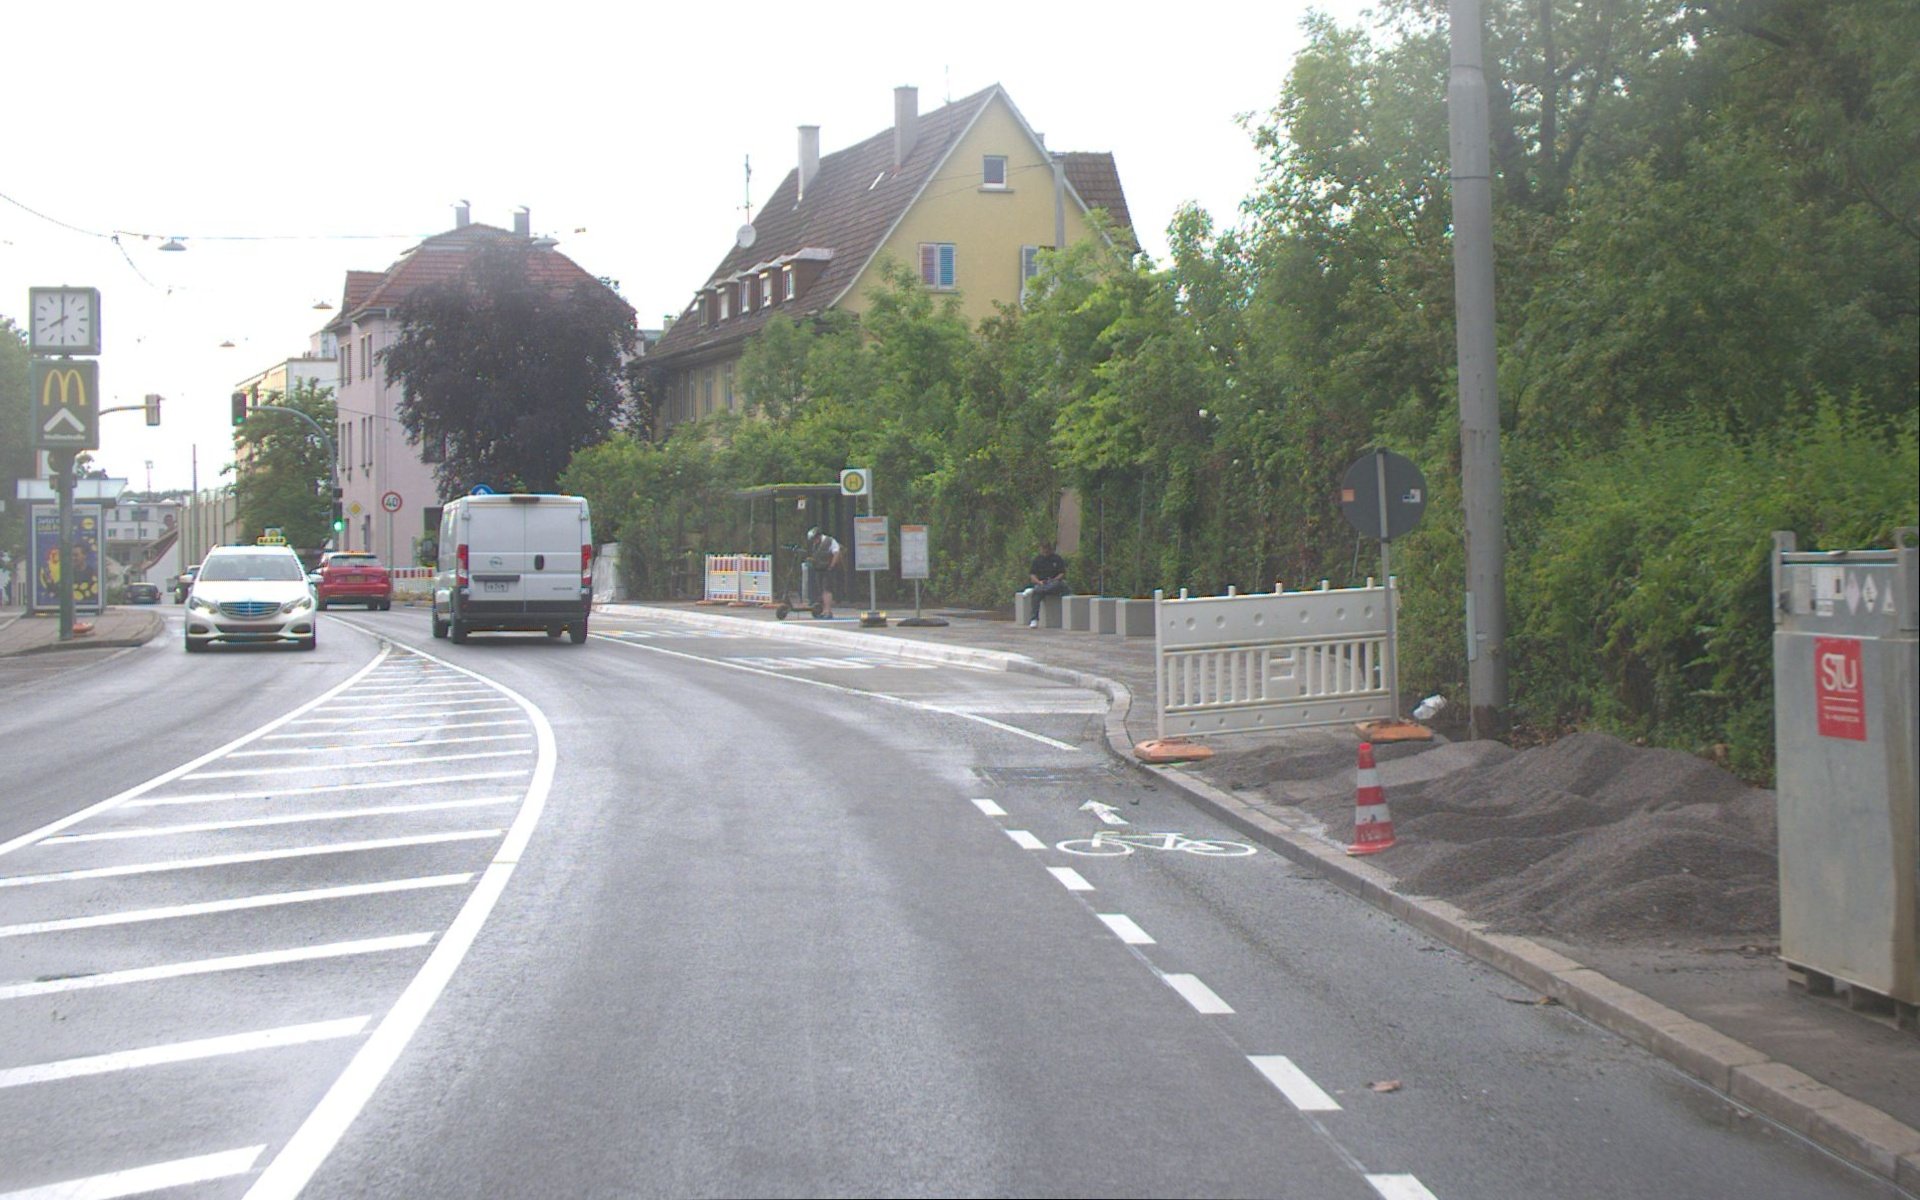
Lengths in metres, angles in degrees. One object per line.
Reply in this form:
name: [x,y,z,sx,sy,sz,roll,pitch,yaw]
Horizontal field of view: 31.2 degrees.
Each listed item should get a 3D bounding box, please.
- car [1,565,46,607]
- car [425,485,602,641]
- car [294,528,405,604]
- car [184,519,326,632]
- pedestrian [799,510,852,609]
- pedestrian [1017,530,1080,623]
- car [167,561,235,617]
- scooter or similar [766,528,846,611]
car: [-43.779,-0.667,160.738,1.993,1.787,4.002,0,3,-15]
car: [-6.933,-0.614,52.970,2.237,2.205,4.715,0,3,-13]
car: [-14.893,-0.842,83.743,2.237,1.651,4.715,0,3,-15]
car: [-10.404,-0.345,50.550,1.928,1.550,4.621,1,0,-13]
pedestrian: [-2.390,-0.729,61.210,0.905,1.725,0.654,1,2,-2]
pedestrian: [1.347,-0.370,52.726,0.879,1.362,1.065,1,2,-2]
car: [-27.479,-0.423,124.338,2.237,1.798,4.715,0,3,-14]
scooter or similar: [-2.738,-0.556,61.259,0.497,1.401,1.552,3,5,41]
